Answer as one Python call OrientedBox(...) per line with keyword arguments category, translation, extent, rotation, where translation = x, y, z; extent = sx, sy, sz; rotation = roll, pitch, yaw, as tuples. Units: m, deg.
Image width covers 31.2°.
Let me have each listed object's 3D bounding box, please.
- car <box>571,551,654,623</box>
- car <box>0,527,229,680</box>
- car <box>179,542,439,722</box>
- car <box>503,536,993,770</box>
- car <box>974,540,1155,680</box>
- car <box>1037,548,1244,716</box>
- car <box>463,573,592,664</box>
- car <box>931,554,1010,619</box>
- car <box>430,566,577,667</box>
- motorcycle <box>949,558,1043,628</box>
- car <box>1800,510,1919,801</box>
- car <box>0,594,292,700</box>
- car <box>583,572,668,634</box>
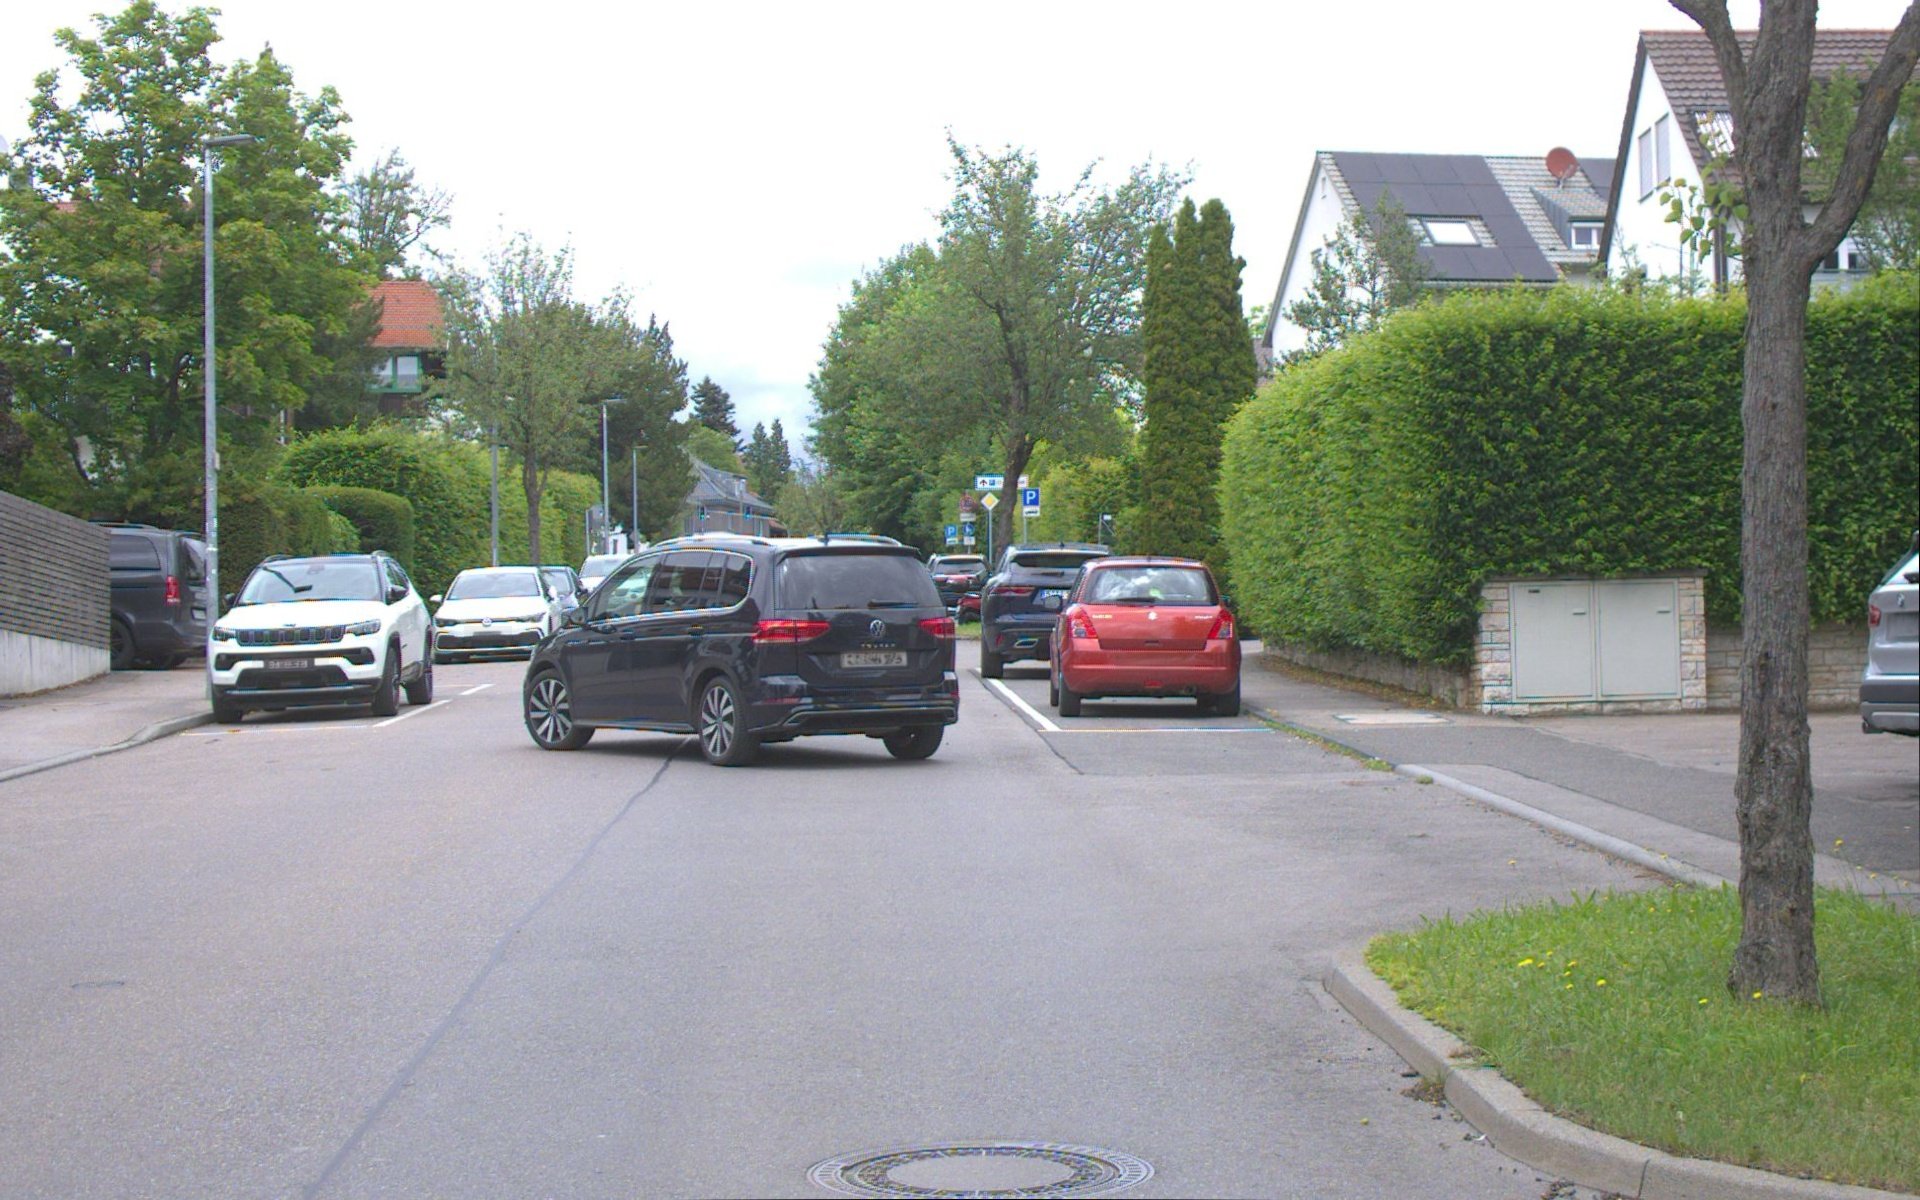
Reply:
OrientedBox(category="car", translation=(-7.866, -0.320, 78.104), extent=(1.722, 1.535, 4.001), rotation=(-2, 1, -4))
OrientedBox(category="car", translation=(-11.984, 0.069, 45.491), extent=(4.073, 1.943, 1.999), rotation=(-1, -1, 7))
OrientedBox(category="car", translation=(-6.573, 0.276, 35.174), extent=(1.837, 1.660, 4.408), rotation=(-2, 1, -1))
OrientedBox(category="car", translation=(-1.698, 0.355, 25.992), extent=(1.848, 1.606, 4.311), rotation=(-1, 0, -32))
OrientedBox(category="car", translation=(1.241, 0.099, 42.808), extent=(1.993, 1.612, 4.513), rotation=(1, 0, -1))
OrientedBox(category="car", translation=(1.684, 0.261, 33.100), extent=(1.661, 1.503, 3.759), rotation=(-1, 1, -2))
OrientedBox(category="car", translation=(-7.289, 0.294, 58.234), extent=(1.727, 1.418, 4.079), rotation=(-2, 0, -1))
OrientedBox(category="car", translation=(0.239, -0.354, 85.558), extent=(1.882, 1.528, 4.475), rotation=(0, 1, -1))
OrientedBox(category="car", translation=(-7.077, 0.223, 53.650), extent=(1.837, 1.417, 4.409), rotation=(-2, 1, -2))
OrientedBox(category="motorcycle", translation=(0.720, -0.140, 67.928), extent=(1.863, 1.342, 0.599), rotation=(-2, 1, -37))
OrientedBox(category="car", translation=(7.286, 0.207, 19.986), extent=(4.206, 1.594, 1.883), rotation=(-3, 2, -10))
OrientedBox(category="car", translation=(-11.685, 0.651, 48.686), extent=(3.989, 1.440, 1.778), rotation=(0, 1, 11))
OrientedBox(category="car", translation=(-8.165, 0.093, 84.085), extent=(1.762, 1.383, 4.000), rotation=(-3, -1, -2))
